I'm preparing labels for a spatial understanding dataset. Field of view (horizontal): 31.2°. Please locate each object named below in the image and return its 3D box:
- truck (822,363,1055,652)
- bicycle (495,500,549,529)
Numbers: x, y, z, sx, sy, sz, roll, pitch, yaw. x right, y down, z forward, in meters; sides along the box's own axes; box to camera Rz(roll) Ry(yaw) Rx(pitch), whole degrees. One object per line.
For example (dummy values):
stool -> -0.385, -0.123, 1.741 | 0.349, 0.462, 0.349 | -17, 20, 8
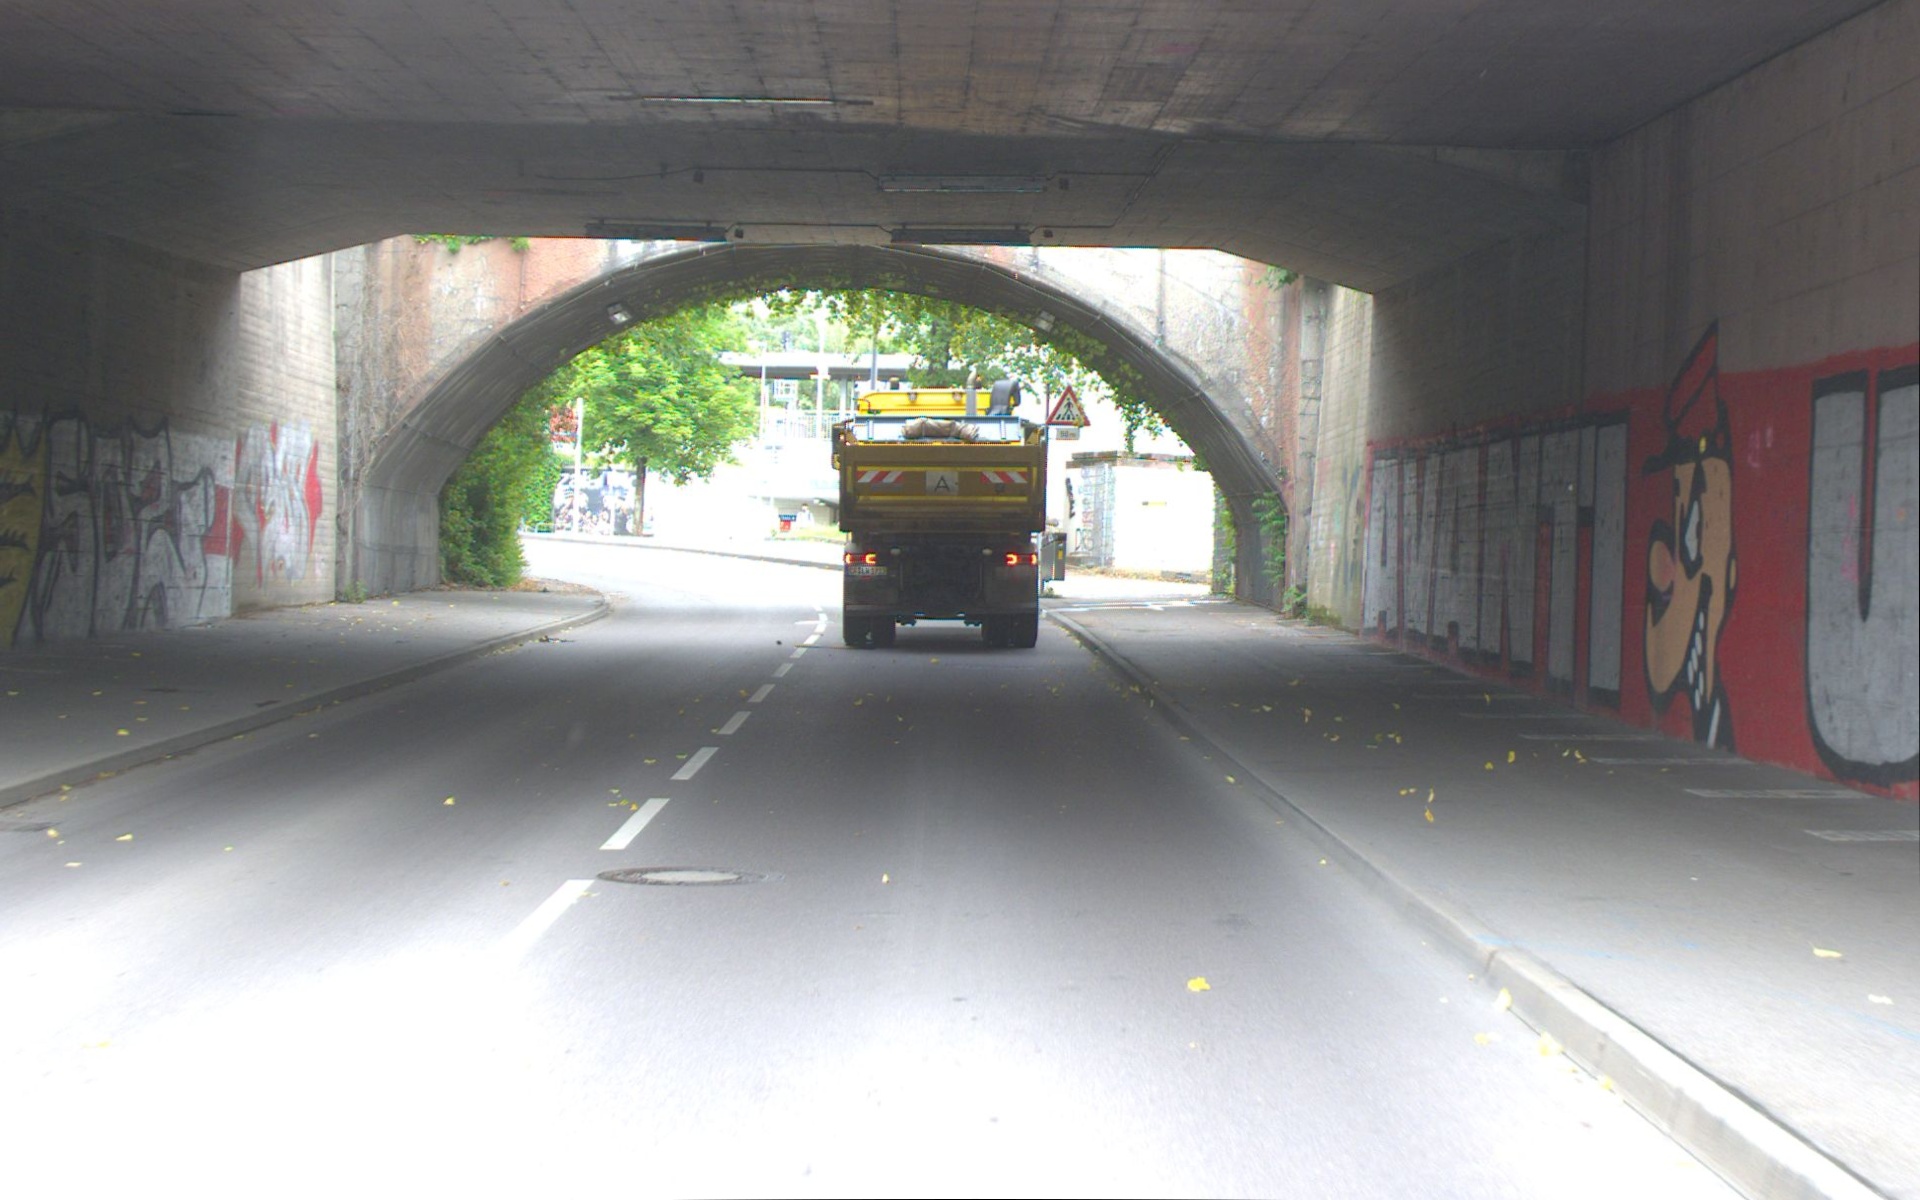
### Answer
truck -> -0.225, -1.321, 46.117 | 2.765, 3.471, 8.130 | 1, 3, 1
bicycle -> -16.162, -3.158, 126.897 | 1.966, 0.862, 0.511 | 6, -1, -40
